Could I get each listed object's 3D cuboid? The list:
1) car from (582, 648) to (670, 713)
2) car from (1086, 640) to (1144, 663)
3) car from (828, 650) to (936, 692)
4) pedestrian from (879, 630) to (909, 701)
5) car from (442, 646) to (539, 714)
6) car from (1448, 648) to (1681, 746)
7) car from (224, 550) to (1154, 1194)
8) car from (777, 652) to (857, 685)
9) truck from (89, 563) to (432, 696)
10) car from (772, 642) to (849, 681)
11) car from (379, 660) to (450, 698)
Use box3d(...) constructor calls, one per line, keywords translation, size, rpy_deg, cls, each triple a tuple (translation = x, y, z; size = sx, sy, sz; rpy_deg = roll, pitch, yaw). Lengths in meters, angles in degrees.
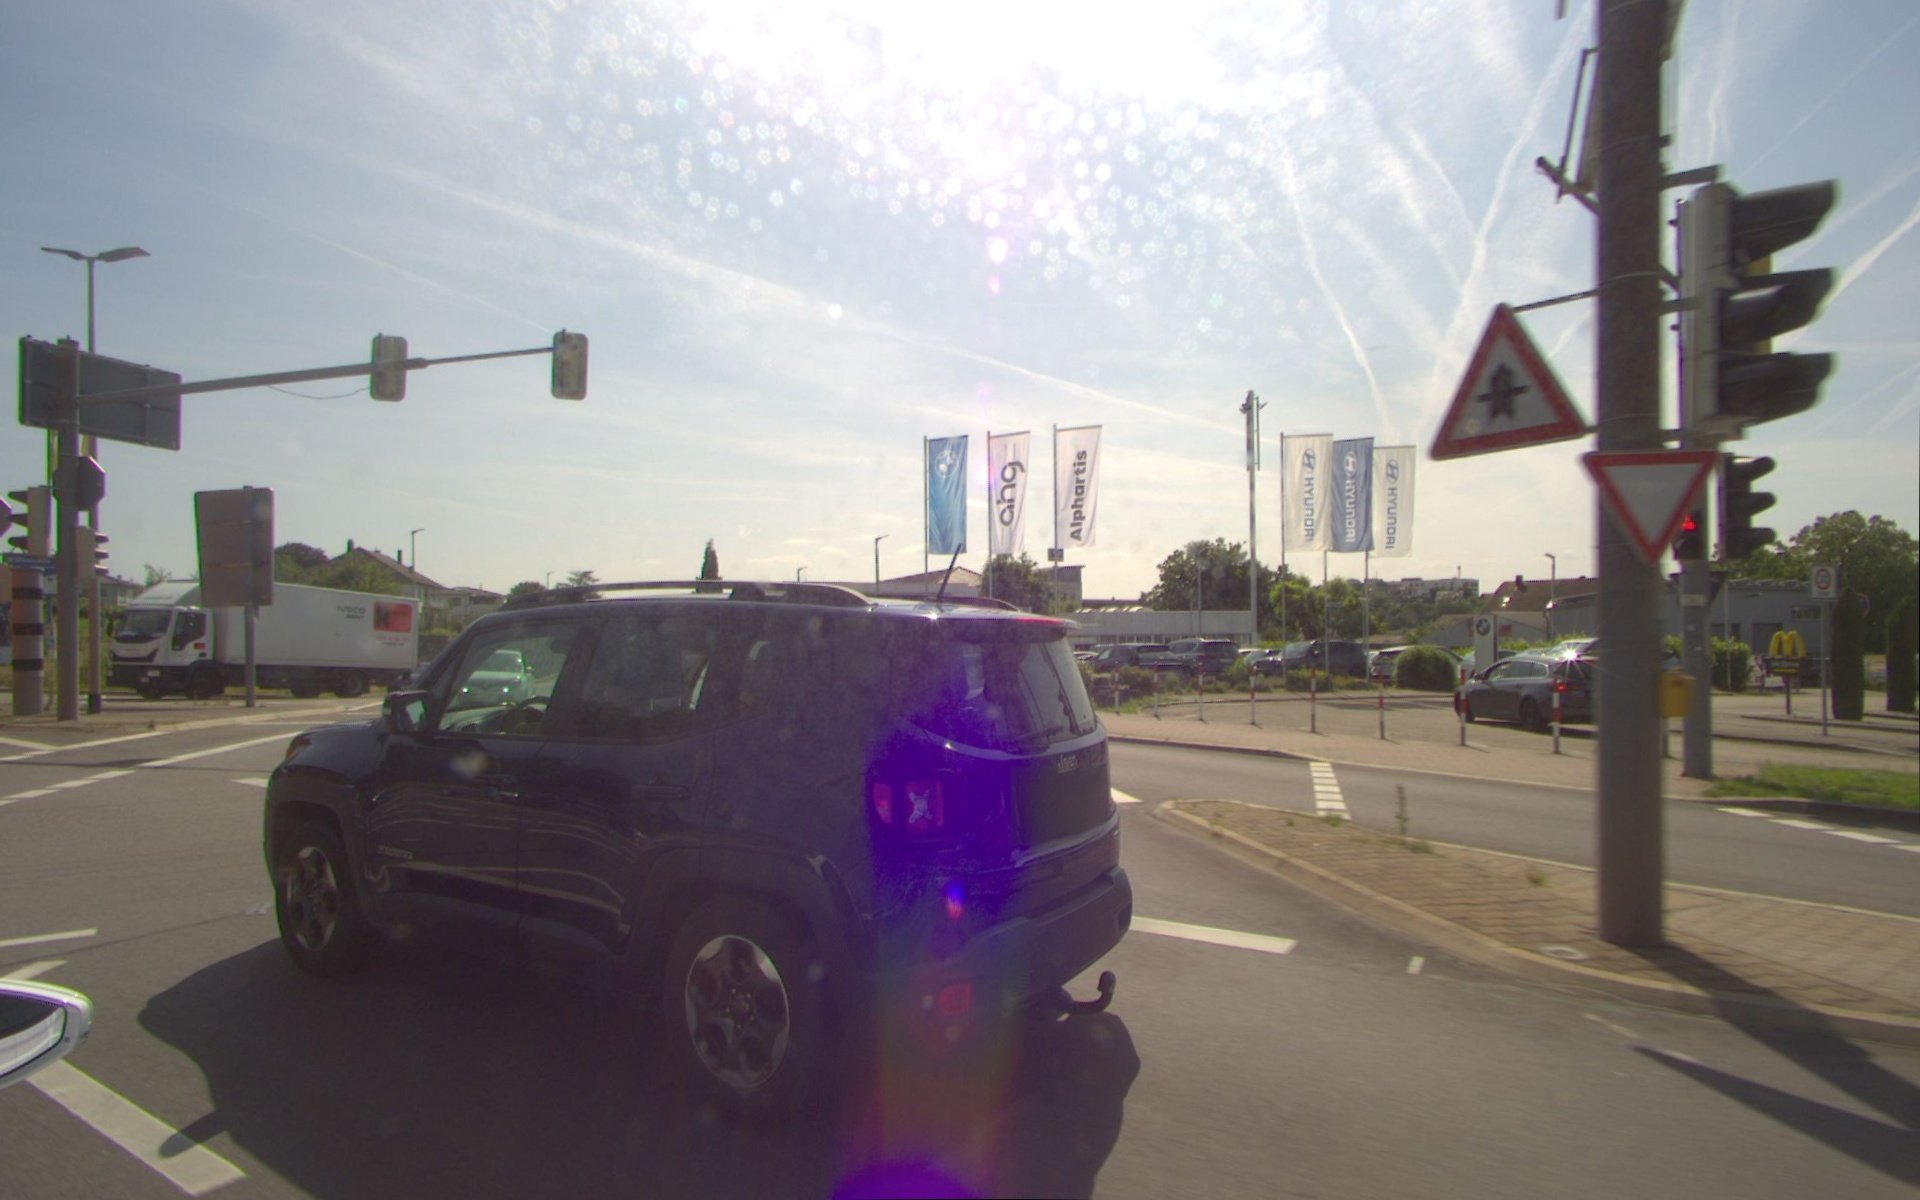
box3d(translation=(-8.678, 2.053, 26.111), size=(1.965, 1.523, 4.994), rpy_deg=(1, -4, -18), cls="car")
box3d(translation=(12.327, 4.090, 79.663), size=(4.117, 1.639, 2.004), rpy_deg=(-1, 0, -19), cls="car")
box3d(translation=(-3.475, 3.130, 44.751), size=(4.406, 1.639, 1.994), rpy_deg=(-1, 0, -23), cls="car")
box3d(translation=(-1.927, 1.889, 29.252), size=(0.653, 2.039, 0.876), rpy_deg=(0, -1, -21), cls="pedestrian")
box3d(translation=(-11.354, 1.930, 24.431), size=(1.682, 1.522, 3.751), rpy_deg=(1, -4, -19), cls="car")
box3d(translation=(11.787, 1.824, 19.957), size=(1.961, 1.539, 4.449), rpy_deg=(-1, 0, 0), cls="car")
box3d(translation=(-1.337, 0.742, 4.416), size=(3.943, 1.676, 1.766), rpy_deg=(-1, 0, 32), cls="car")
box3d(translation=(-8.048, 3.813, 56.320), size=(4.017, 1.639, 2.096), rpy_deg=(-1, 0, -26), cls="car")
box3d(translation=(-22.340, 1.286, 33.058), size=(2.716, 3.669, 9.708), rpy_deg=(-1, -6, 14), cls="truck")
box3d(translation=(-8.737, 3.534, 58.539), size=(4.017, 2.062, 2.061), rpy_deg=(-1, 0, -25), cls="car")
box3d(translation=(-23.739, 3.398, 43.729), size=(1.965, 1.478, 4.314), rpy_deg=(-1, -3, -19), cls="car")
